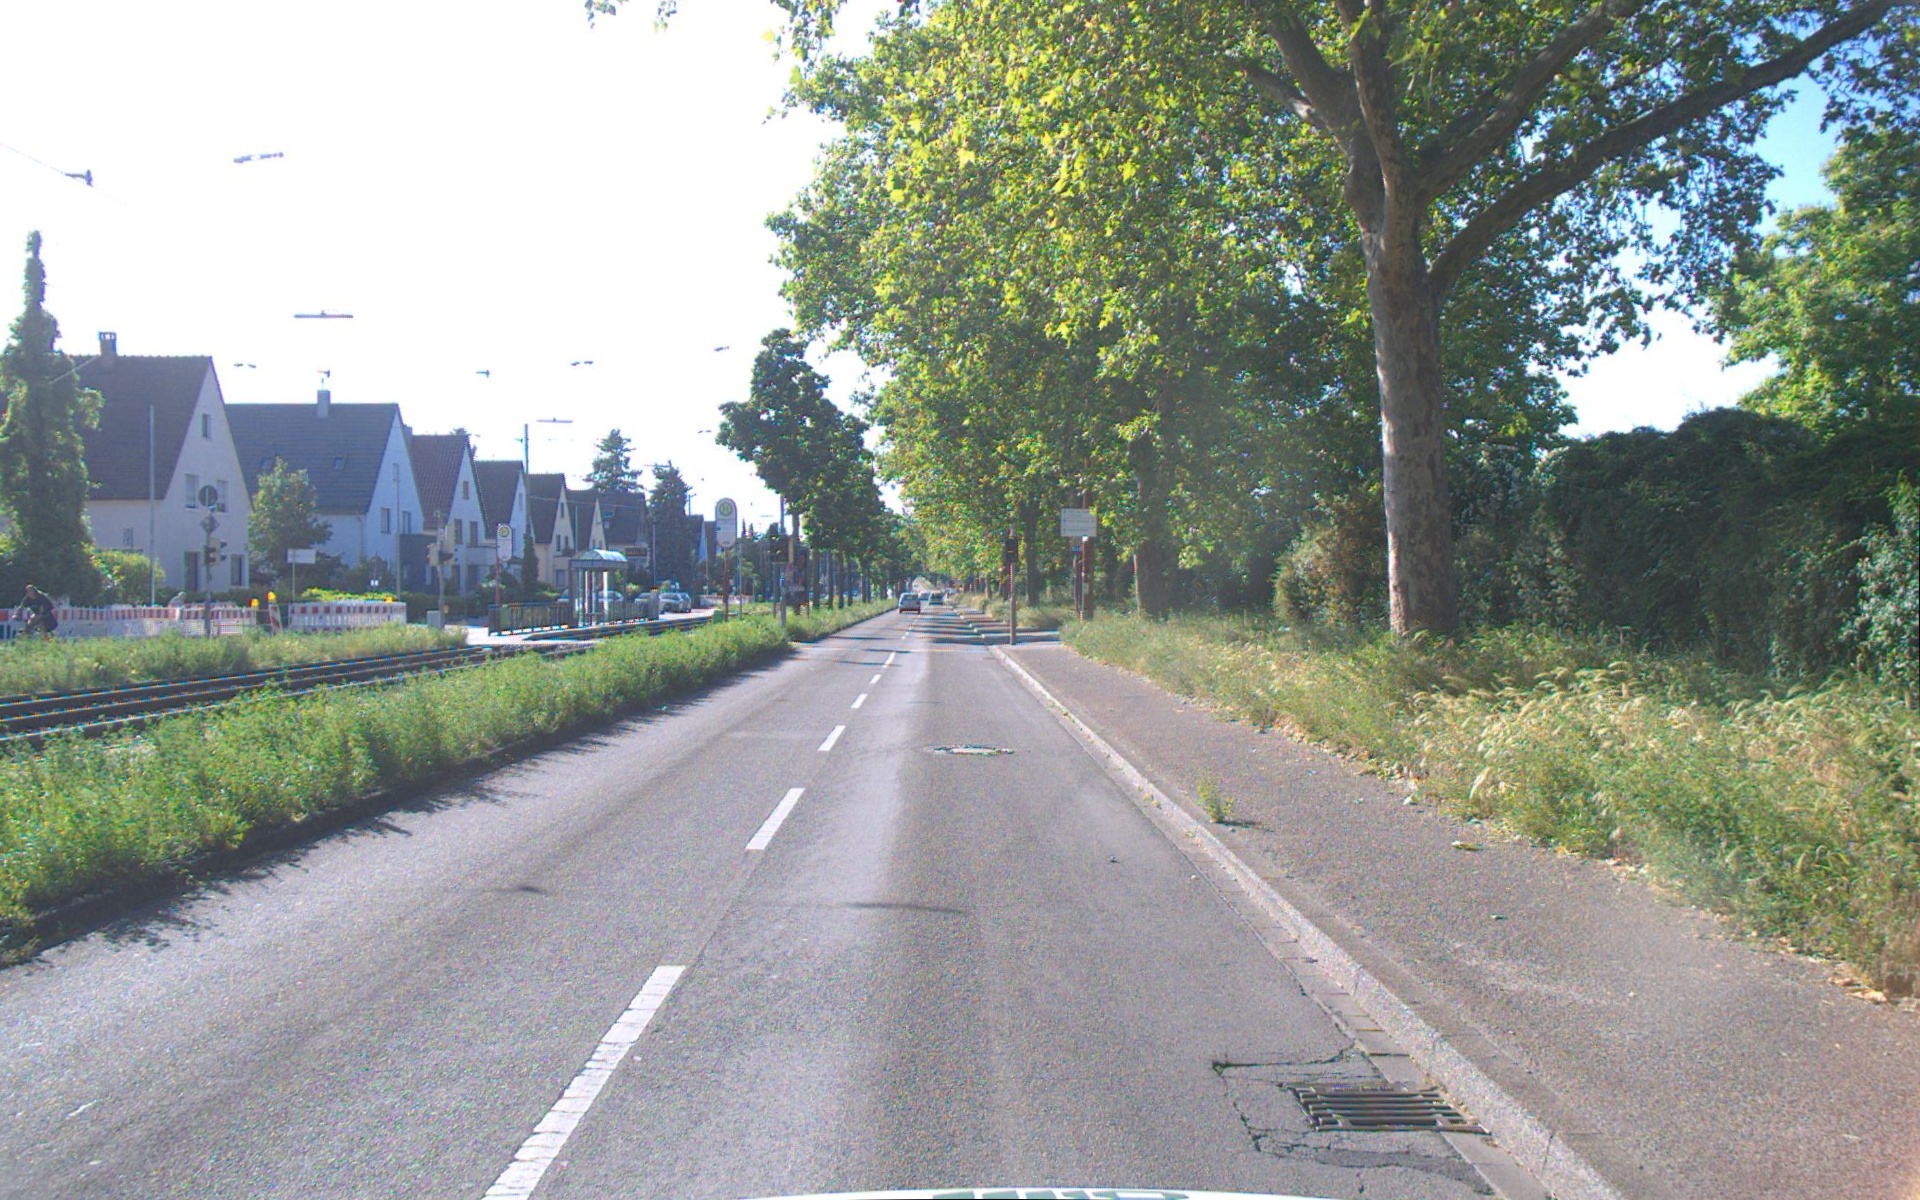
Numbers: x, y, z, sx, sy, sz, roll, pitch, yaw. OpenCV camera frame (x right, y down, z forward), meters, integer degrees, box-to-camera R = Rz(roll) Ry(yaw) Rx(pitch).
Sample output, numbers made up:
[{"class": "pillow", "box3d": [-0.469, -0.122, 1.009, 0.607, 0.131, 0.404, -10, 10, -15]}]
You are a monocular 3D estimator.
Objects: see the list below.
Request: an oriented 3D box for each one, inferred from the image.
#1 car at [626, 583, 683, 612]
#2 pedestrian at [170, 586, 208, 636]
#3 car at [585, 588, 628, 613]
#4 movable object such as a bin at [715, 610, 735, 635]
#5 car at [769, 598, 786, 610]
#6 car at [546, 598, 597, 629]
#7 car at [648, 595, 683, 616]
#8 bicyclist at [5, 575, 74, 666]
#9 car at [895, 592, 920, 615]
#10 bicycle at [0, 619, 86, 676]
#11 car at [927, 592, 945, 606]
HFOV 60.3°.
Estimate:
[{"class": "car", "box3d": [-28.631, -0.273, 155.023, 4.926, 2.671, 2.102, 0, 0, -1]}, {"class": "pedestrian", "box3d": [-25.026, 0.350, 53.702, 0.774, 1.561, 0.814, 0, 2, 7]}, {"class": "car", "box3d": [-22.674, 0.029, 106.196, 1.887, 1.521, 4.255, 1, 0, -1]}, {"class": "movable object such as a bin", "box3d": [-5.717, 0.548, 40.185, 0.378, 0.593, 0.379, 1, -1, 8]}, {"class": "car", "box3d": [-24.031, 0.559, 217.742, 1.822, 1.569, 4.226, 1, 0, -1]}, {"class": "car", "box3d": [-22.646, 0.780, 96.551, 1.953, 1.743, 4.390, 1, 0, -1]}, {"class": "car", "box3d": [-22.957, 0.421, 129.063, 1.953, 1.475, 4.127, 3, 0, -1]}, {"class": "bicyclist", "box3d": [-19.737, 0.439, 35.489, 0.834, 1.920, 1.072, 1, -1, -1]}, {"class": "car", "box3d": [-3.842, 0.240, 121.548, 1.822, 1.629, 4.226, 1, 0, -1]}, {"class": "bicycle", "box3d": [-19.748, 1.003, 35.419, 0.834, 1.154, 2.308, 1, 0, -1]}, {"class": "car", "box3d": [-2.782, -0.109, 192.096, 1.953, 1.631, 4.472, 1, 0, -1]}]
